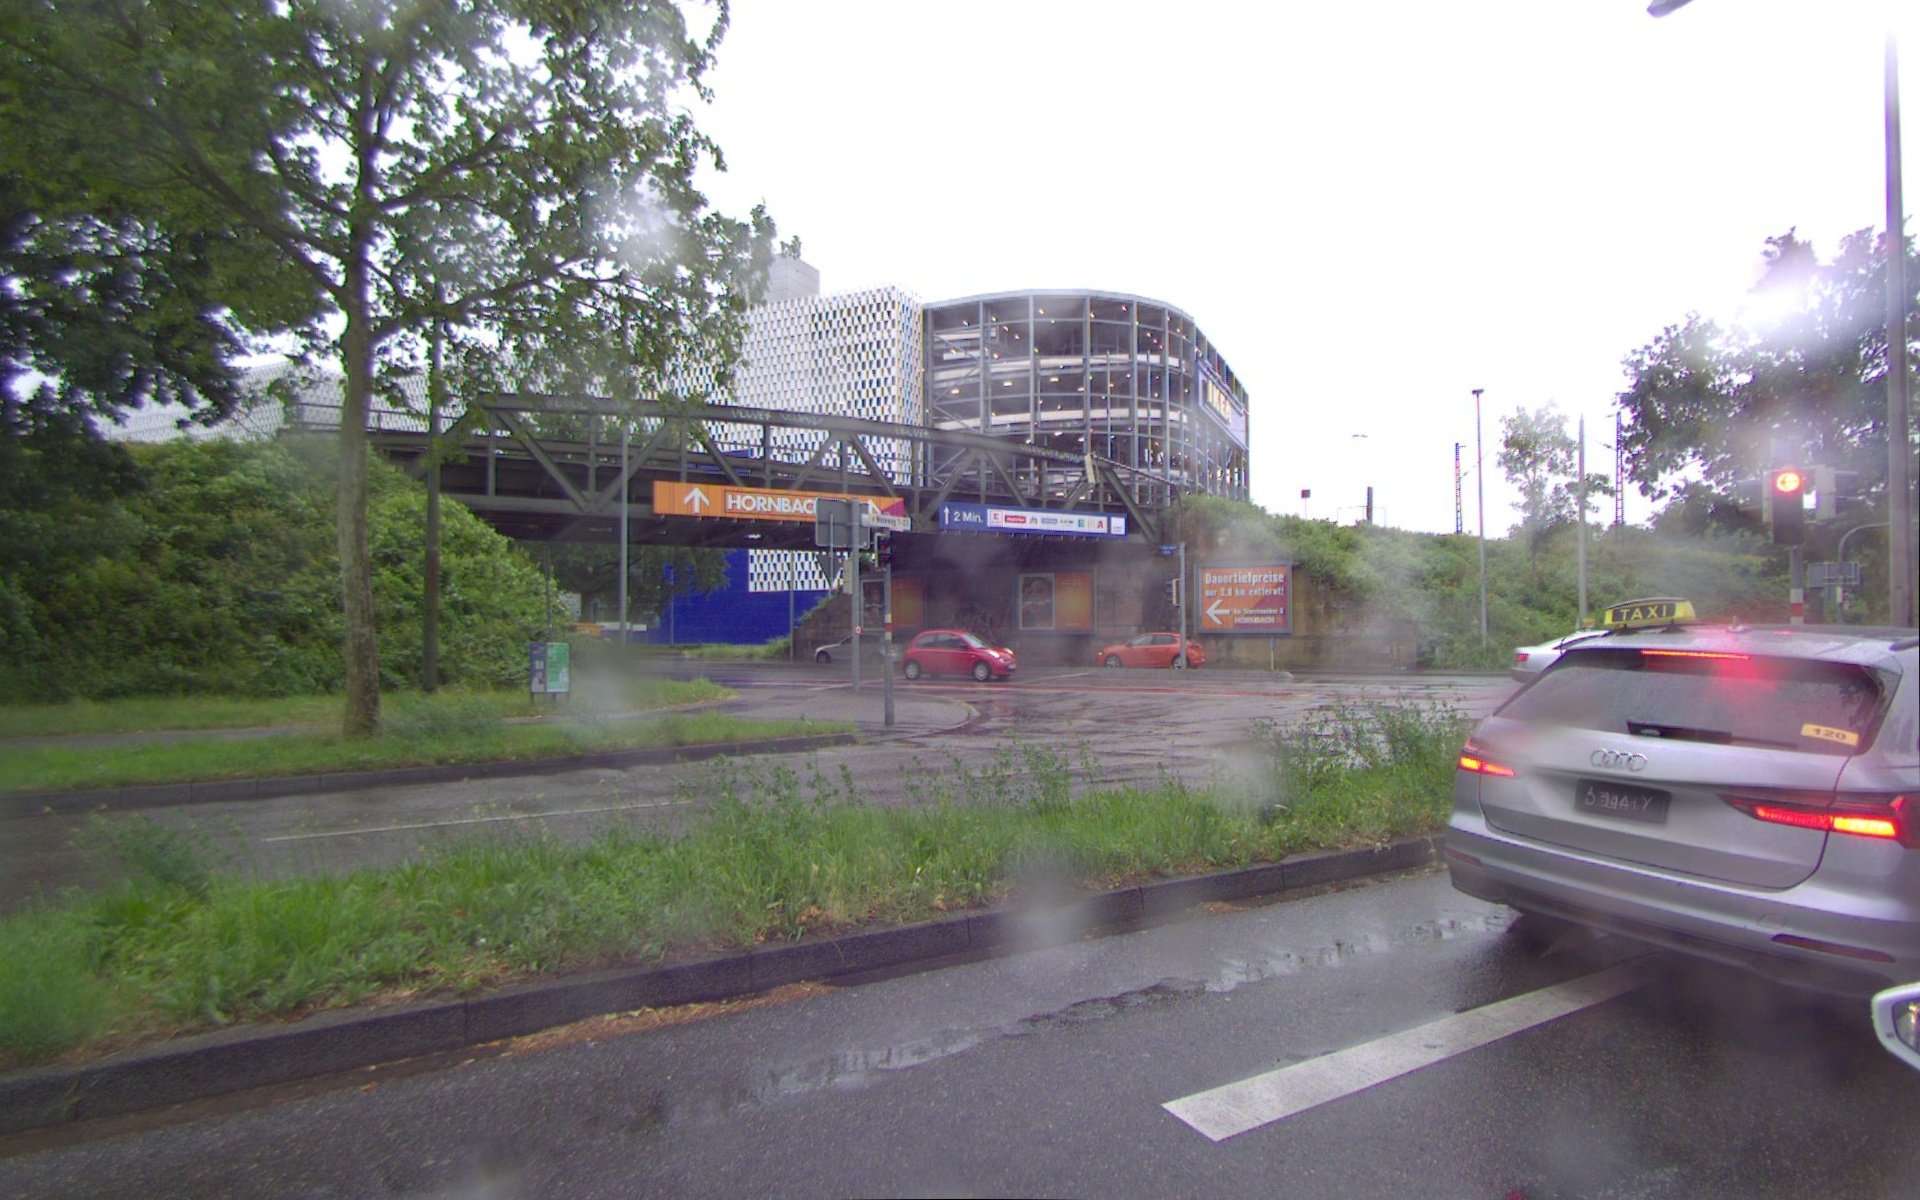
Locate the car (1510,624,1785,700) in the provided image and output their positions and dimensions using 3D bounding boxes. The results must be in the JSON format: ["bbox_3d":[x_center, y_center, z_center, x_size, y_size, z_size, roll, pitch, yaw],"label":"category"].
[{"bbox_3d":[14.839,1.303,22.072,4.740,1.510,1.925,-1,-2,27],"label":"car"}]

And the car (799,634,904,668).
[{"bbox_3d":[-4.650,2.150,42.885,4.131,1.392,1.746,0,-2,24],"label":"car"}]

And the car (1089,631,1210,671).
[{"bbox_3d":[7.021,1.879,37.310,4.131,1.392,1.746,0,-2,24],"label":"car"}]

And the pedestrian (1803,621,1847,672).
[{"bbox_3d":[32.379,1.732,37.586,1.122,1.871,1.092,2,-2,-41],"label":"pedestrian"}]

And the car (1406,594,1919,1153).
[{"bbox_3d":[4.407,0.816,4.799,4.766,1.595,1.760,1,0,-31],"label":"car"}]

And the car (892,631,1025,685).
[{"bbox_3d":[-0.058,1.734,30.946,3.745,1.510,1.677,0,-1,26],"label":"car"}]
